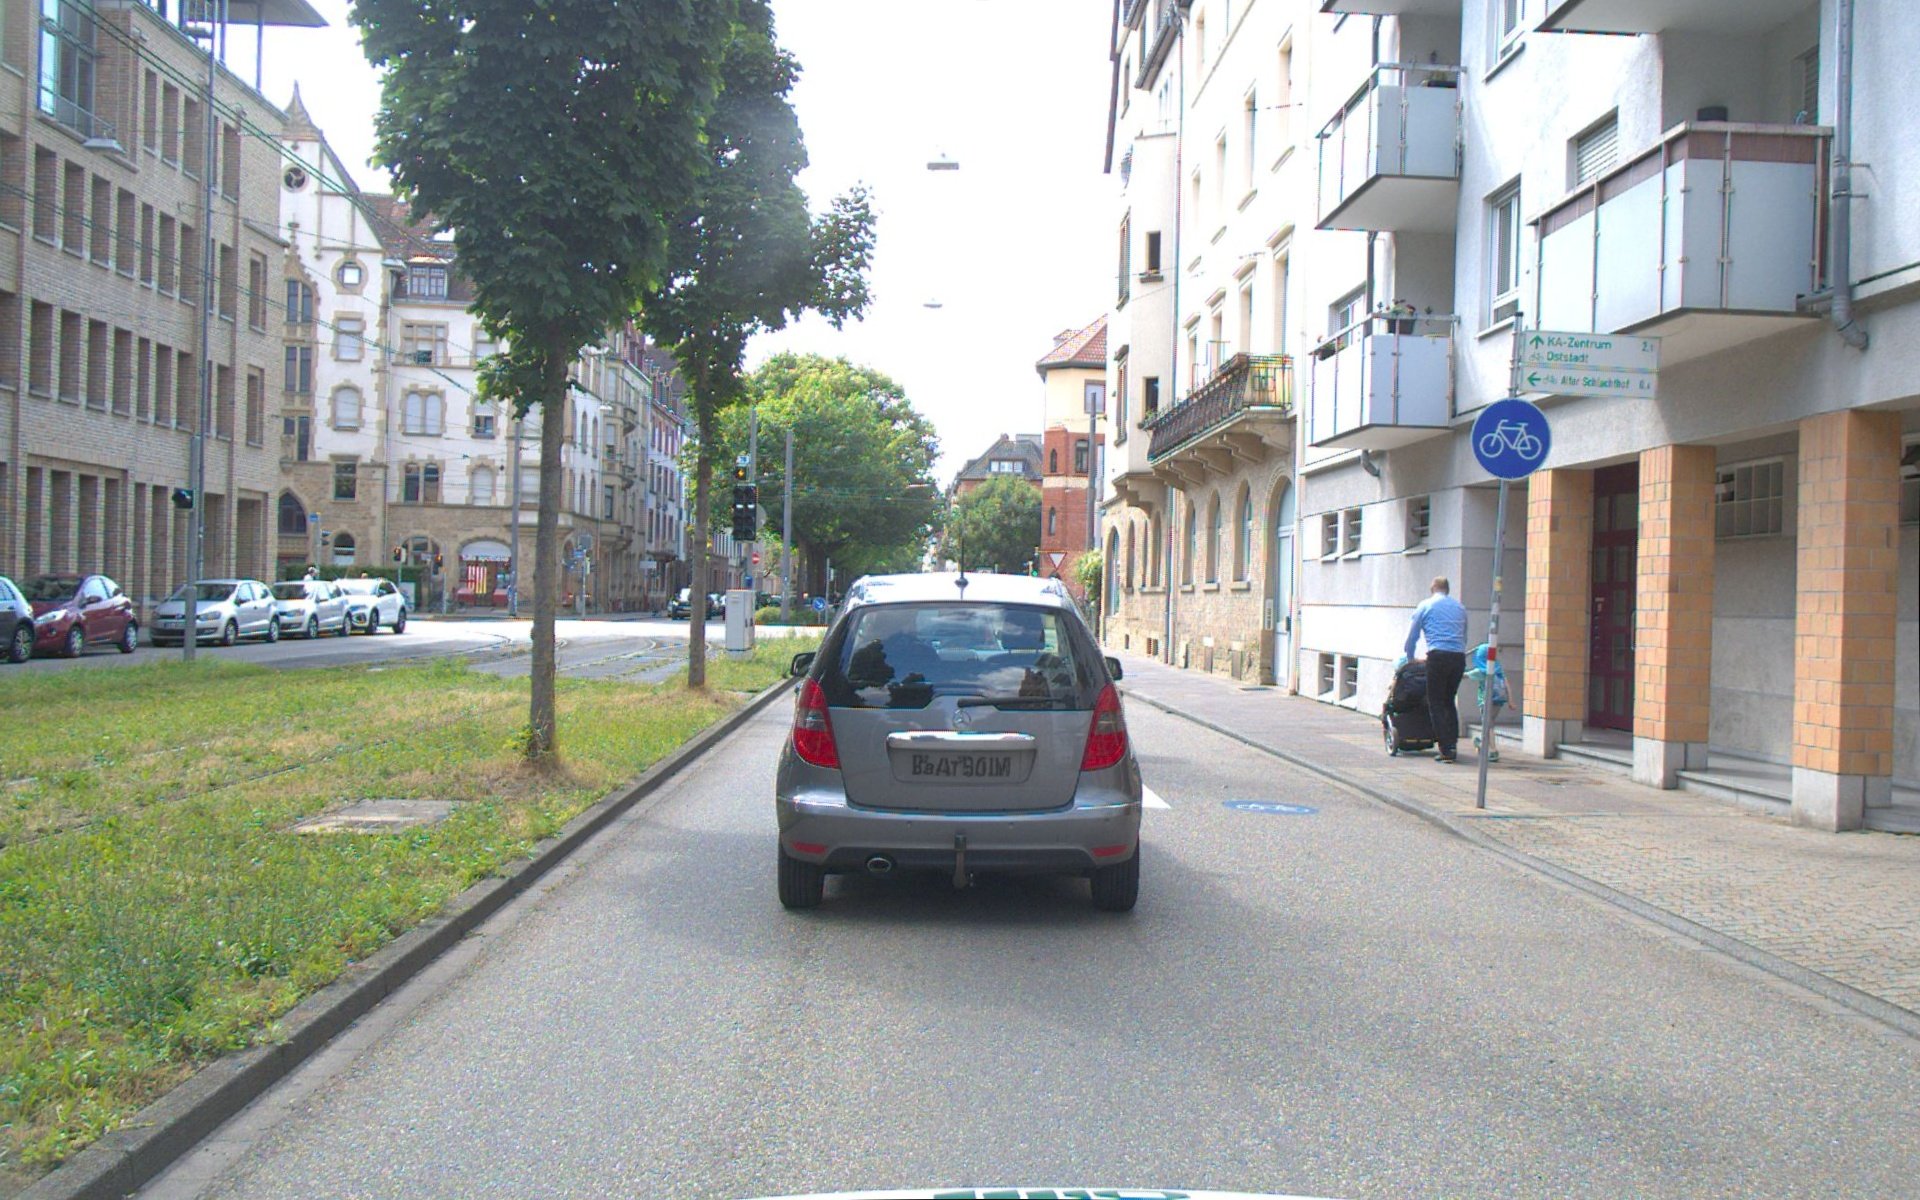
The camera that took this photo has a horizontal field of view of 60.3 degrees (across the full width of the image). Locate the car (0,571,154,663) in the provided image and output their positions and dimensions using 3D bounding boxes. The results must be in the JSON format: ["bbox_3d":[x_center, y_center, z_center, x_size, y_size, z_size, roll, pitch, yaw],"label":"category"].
[{"bbox_3d":[-16.408,0.280,30.286,1.550,1.557,3.549,1,0,-1],"label":"car"}]

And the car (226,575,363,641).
[{"bbox_3d":[-16.937,0.197,42.306,1.893,1.557,4.014,1,0,-1],"label":"car"}]

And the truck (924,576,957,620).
[{"bbox_3d":[-1.354,-0.104,116.802,2.079,3.022,4.001,1,0,2],"label":"truck"}]

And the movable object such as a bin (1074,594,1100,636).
[{"bbox_3d":[4.570,0.525,59.696,0.701,1.497,0.980,1,0,-10],"label":"movable object such as a bin"}]

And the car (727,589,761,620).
[{"bbox_3d":[-12.651,0.276,97.031,1.955,1.758,3.994,1,0,-7],"label":"car"}]

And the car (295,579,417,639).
[{"bbox_3d":[-16.983,0.234,46.756,1.893,1.561,4.257,1,0,-1],"label":"car"}]

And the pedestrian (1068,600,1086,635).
[{"bbox_3d":[5.725,0.854,81.123,0.851,1.685,0.736,1,0,3],"label":"pedestrian"}]

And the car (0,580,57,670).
[{"bbox_3d":[-16.179,0.375,25.786,1.893,1.420,4.238,1,0,-1],"label":"car"}]

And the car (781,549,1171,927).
[{"bbox_3d":[0.047,0.608,9.078,1.687,1.633,3.676,1,0,-1],"label":"car"}]

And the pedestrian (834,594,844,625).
[{"bbox_3d":[-6.854,0.534,93.672,0.484,1.755,0.653,1,0,-8],"label":"pedestrian"}]

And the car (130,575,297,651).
[{"bbox_3d":[-16.575,0.269,36.951,1.813,1.557,4.209,1,0,-1],"label":"car"}]

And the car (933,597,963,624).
[{"bbox_3d":[-0.749,0.657,103.954,1.716,1.661,3.500,2,0,2],"label":"car"}]

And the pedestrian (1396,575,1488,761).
[{"bbox_3d":[4.714,0.646,16.219,0.608,1.769,0.877,-1,0,-1],"label":"pedestrian"}]

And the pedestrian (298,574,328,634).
[{"bbox_3d":[-20.348,0.124,51.976,0.751,1.827,0.952,2,0,-27],"label":"pedestrian"}]

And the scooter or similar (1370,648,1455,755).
[{"bbox_3d":[4.641,1.029,17.002,0.580,1.019,0.905,-3,0,-1],"label":"scooter or similar"}]

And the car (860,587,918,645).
[{"bbox_3d":[-2.200,0.489,51.928,1.687,1.736,3.676,1,0,-1],"label":"car"}]

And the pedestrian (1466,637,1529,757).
[{"bbox_3d":[5.319,0.955,16.389,0.447,1.154,0.494,0,0,-1],"label":"pedestrian"}]

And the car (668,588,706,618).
[{"bbox_3d":[-15.704,0.186,95.446,1.955,1.646,3.994,1,0,-7],"label":"car"}]

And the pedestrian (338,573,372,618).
[{"bbox_3d":[-23.978,-0.174,65.551,0.763,1.752,1.017,1,0,44],"label":"pedestrian"}]

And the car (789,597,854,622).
[{"bbox_3d":[-8.272,0.546,98.446,1.957,1.362,3.941,2,0,-41],"label":"car"}]
